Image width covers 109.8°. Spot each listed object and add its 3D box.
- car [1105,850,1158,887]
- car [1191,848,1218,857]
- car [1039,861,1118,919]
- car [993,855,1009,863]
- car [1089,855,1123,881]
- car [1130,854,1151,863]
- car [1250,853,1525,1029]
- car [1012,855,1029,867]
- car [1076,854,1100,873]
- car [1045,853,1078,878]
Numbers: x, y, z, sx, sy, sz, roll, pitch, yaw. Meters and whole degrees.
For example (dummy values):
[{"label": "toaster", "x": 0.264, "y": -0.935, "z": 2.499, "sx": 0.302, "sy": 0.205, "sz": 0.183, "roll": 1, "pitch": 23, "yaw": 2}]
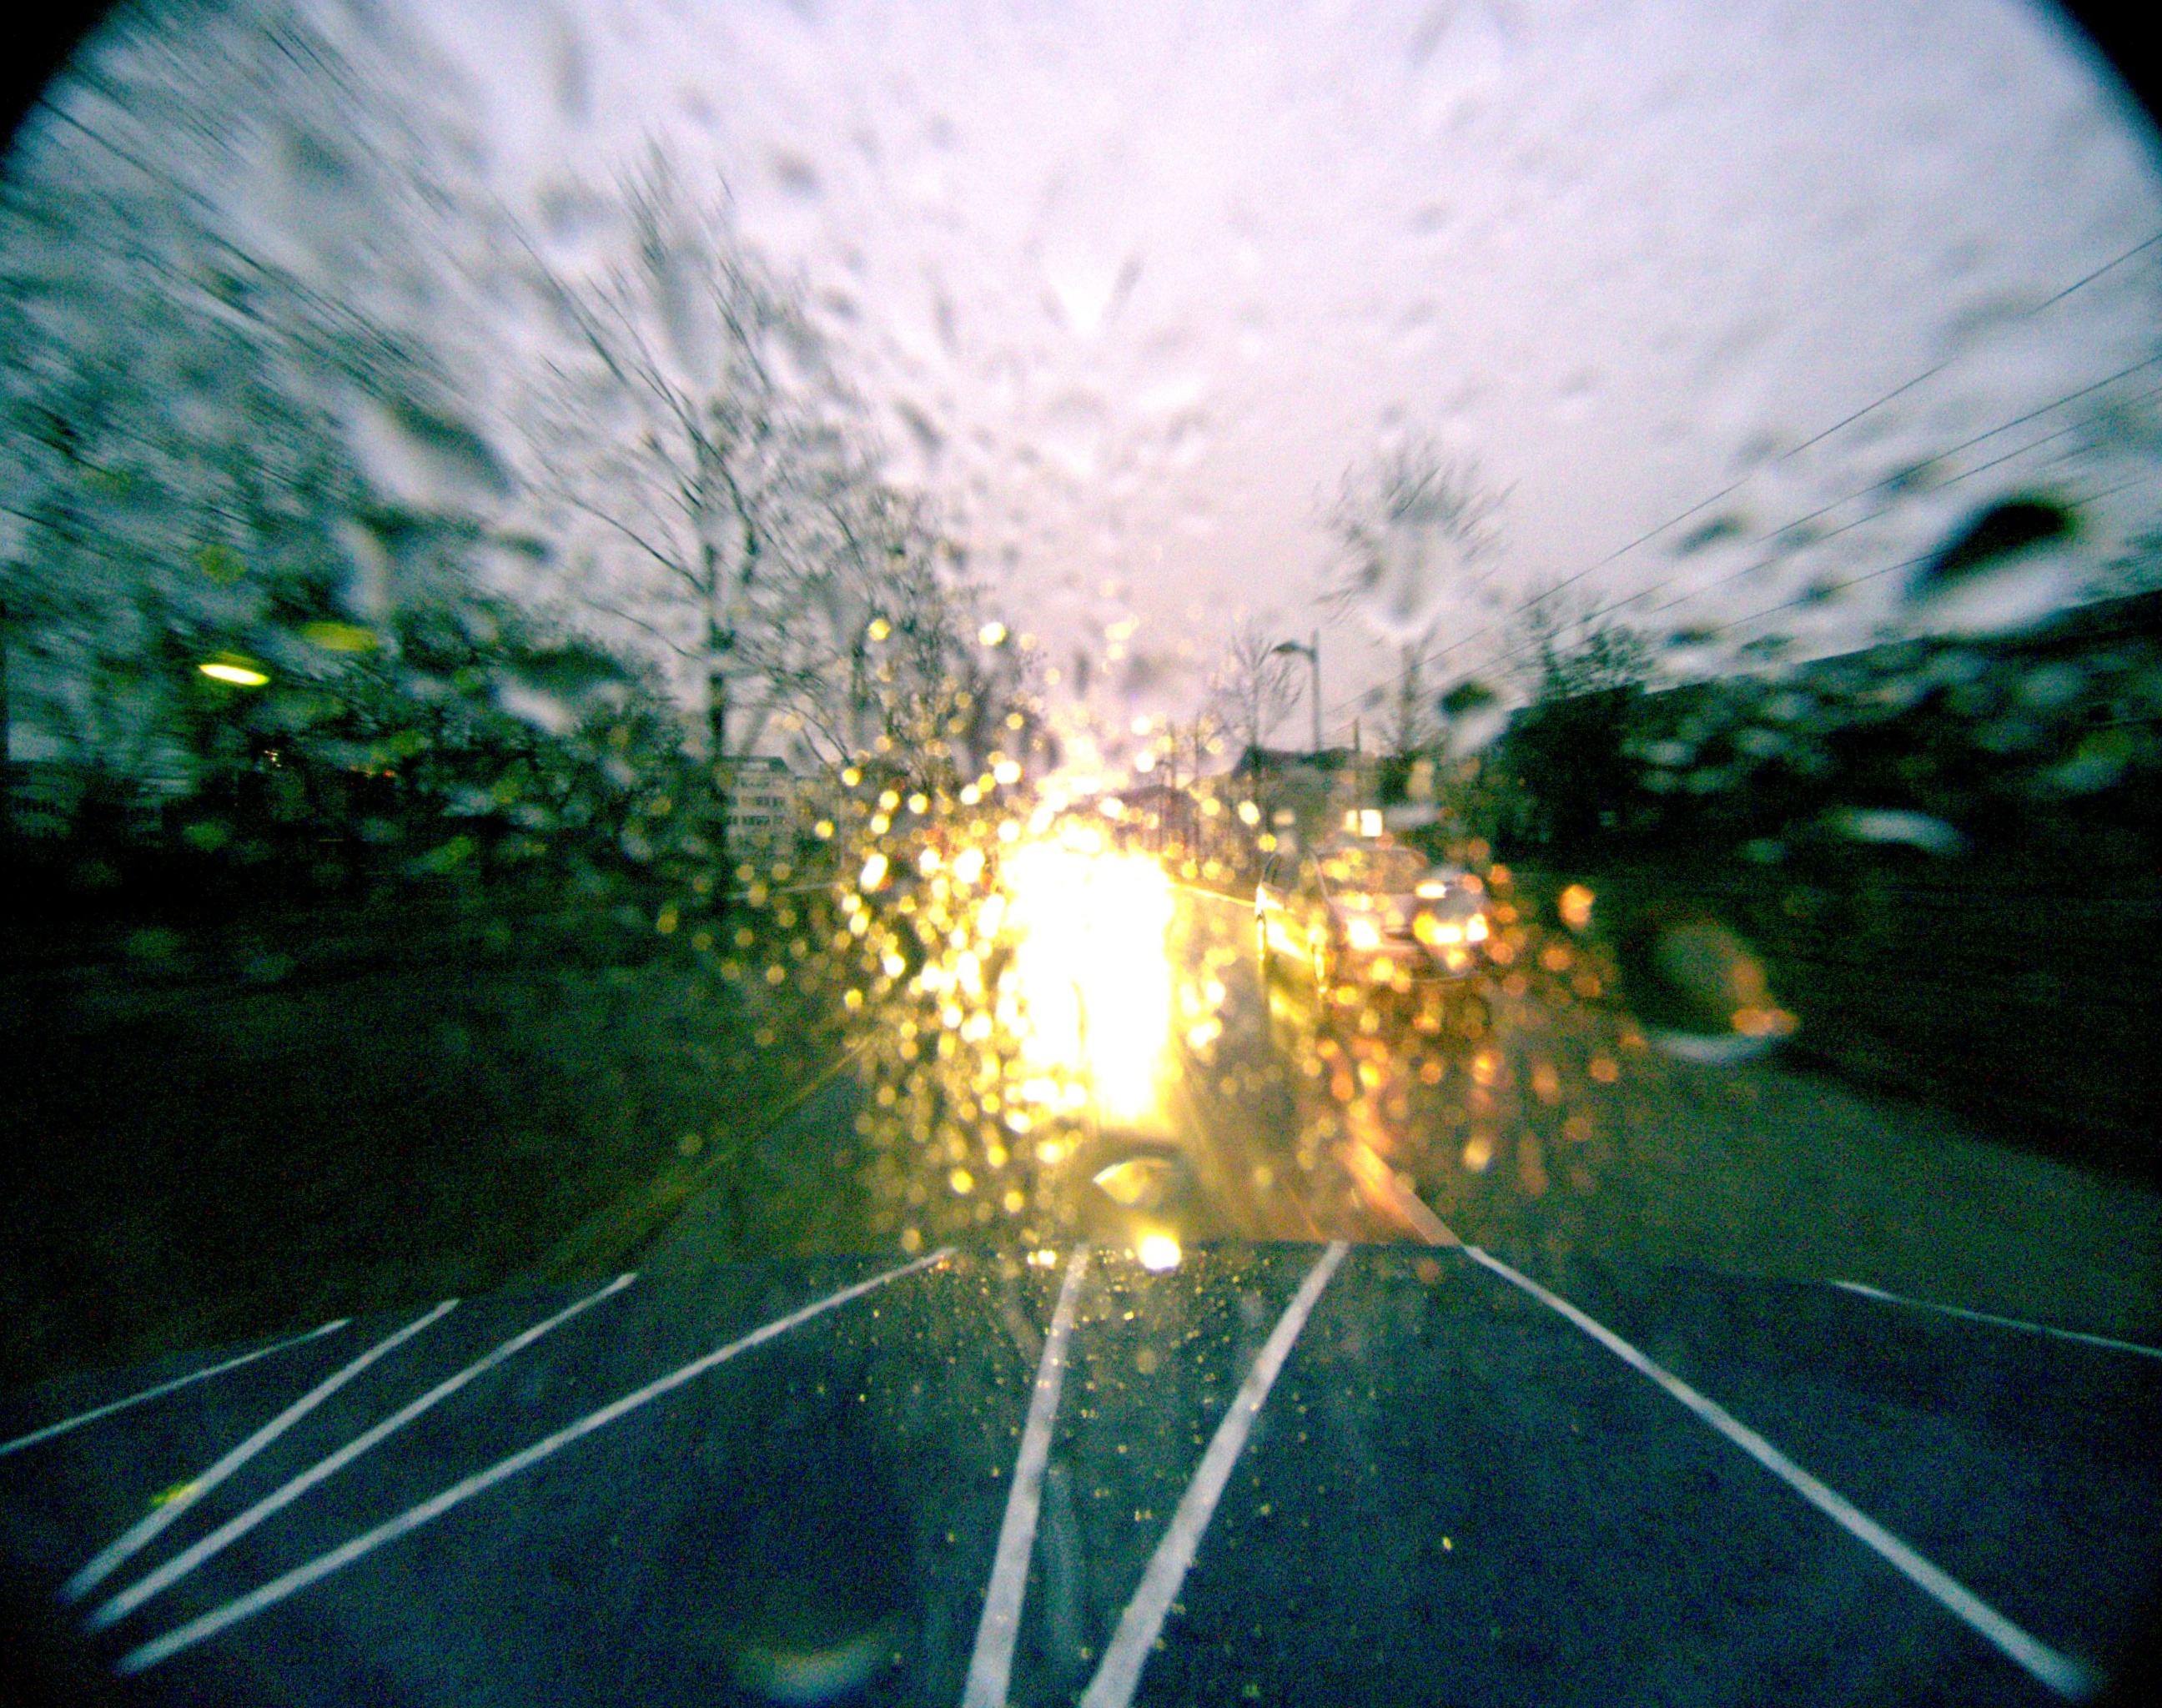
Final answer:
[{"label": "car", "x": 2.254, "y": 0.629, "z": 35.113, "sx": 1.924, "sy": 1.546, "sz": 4.216, "roll": -3, "pitch": 0, "yaw": -3}, {"label": "car", "x": 24.610, "y": -0.306, "z": 151.168, "sx": 4.679, "sy": 1.846, "sz": 2.323, "roll": -1, "pitch": 0, "yaw": -23}, {"label": "car", "x": -0.139, "y": 0.897, "z": 20.549, "sx": 1.897, "sy": 1.347, "sz": 4.288, "roll": -1, "pitch": 0, "yaw": -2}, {"label": "car", "x": -14.044, "y": 0.866, "z": 133.134, "sx": 2.001, "sy": 1.316, "sz": 3.993, "roll": -3, "pitch": 1, "yaw": -19}, {"label": "car", "x": 1.582, "y": 0.885, "z": 49.984, "sx": 1.845, "sy": 1.546, "sz": 4.216, "roll": -3, "pitch": 0, "yaw": -2}, {"label": "car", "x": 8.806, "y": 0.674, "z": 112.294, "sx": 1.899, "sy": 1.347, "sz": 4.285, "roll": -1, "pitch": 0, "yaw": -12}, {"label": "car", "x": 3.231, "y": 0.797, "z": 8.894, "sx": 1.669, "sy": 1.566, "sz": 3.922, "roll": -1, "pitch": 0, "yaw": 1}, {"label": "car", "x": -8.434, "y": 1.026, "z": 105.410, "sx": 1.951, "sy": 1.546, "sz": 4.213, "roll": -3, "pitch": 0, "yaw": -11}, {"label": "car", "x": 0.603, "y": 0.786, "z": 67.382, "sx": 1.949, "sy": 1.546, "sz": 4.216, "roll": -3, "pitch": 0, "yaw": 0}, {"label": "car", "x": -1.326, "y": 0.759, "z": 50.917, "sx": 1.950, "sy": 1.546, "sz": 4.215, "roll": -3, "pitch": 0, "yaw": -4}]
